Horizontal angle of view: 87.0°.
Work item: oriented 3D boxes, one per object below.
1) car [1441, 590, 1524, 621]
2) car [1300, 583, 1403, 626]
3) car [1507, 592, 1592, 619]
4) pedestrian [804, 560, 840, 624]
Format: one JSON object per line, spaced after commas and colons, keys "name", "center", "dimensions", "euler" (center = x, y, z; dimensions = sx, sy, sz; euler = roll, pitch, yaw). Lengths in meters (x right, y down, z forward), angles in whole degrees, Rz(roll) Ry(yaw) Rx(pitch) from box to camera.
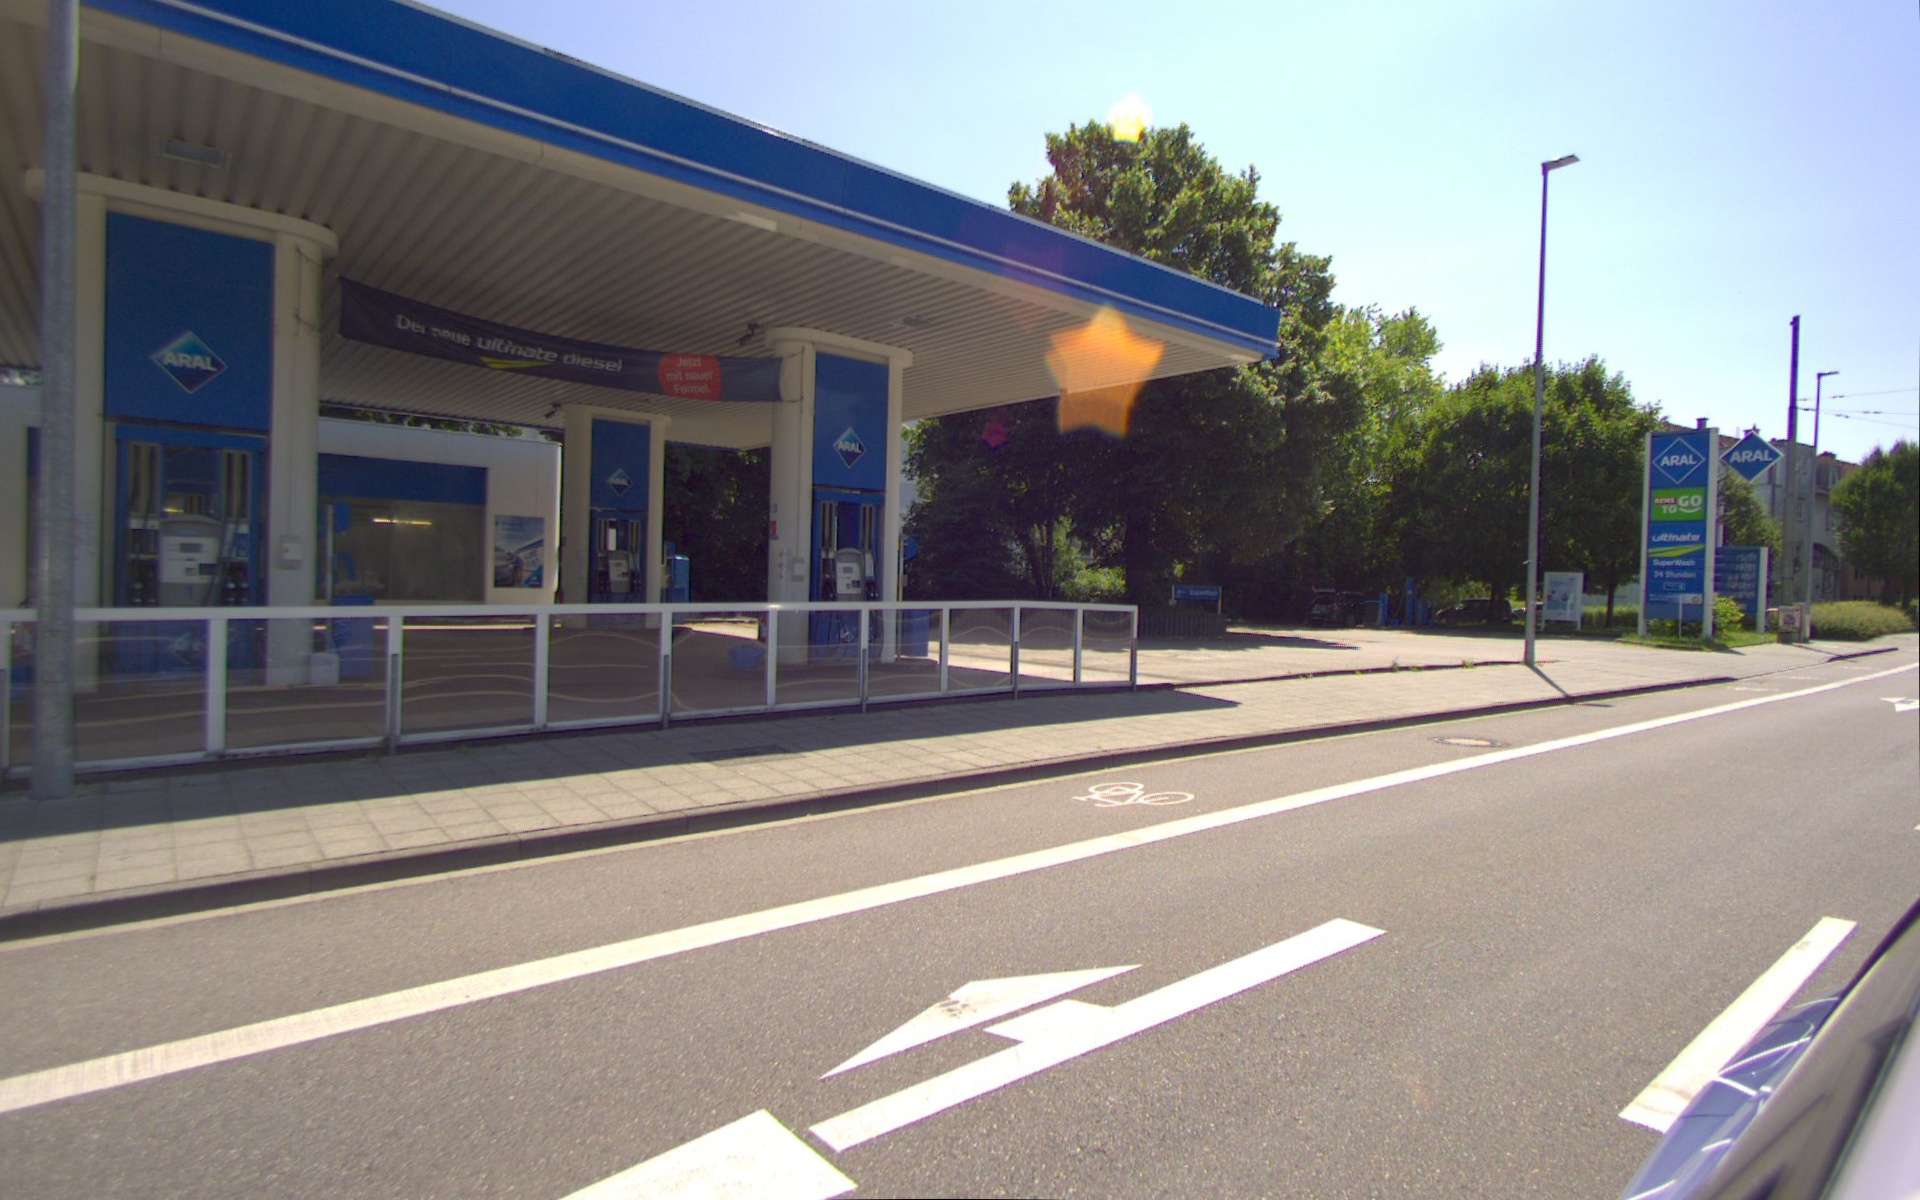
{"name": "car", "center": [30.964, 0.301, 60.095], "dimensions": [1.958, 1.708, 4.007], "euler": [1, 1, -25]}
{"name": "car", "center": [16.587, 0.136, 42.816], "dimensions": [4.327, 1.683, 2.000], "euler": [-1, 2, -35]}
{"name": "car", "center": [37.236, 0.339, 64.000], "dimensions": [1.961, 1.540, 4.230], "euler": [1, 1, -32]}
{"name": "pedestrian", "center": [-4.177, -0.245, 30.729], "dimensions": [0.822, 1.912, 0.626], "euler": [2, 0, -40]}
